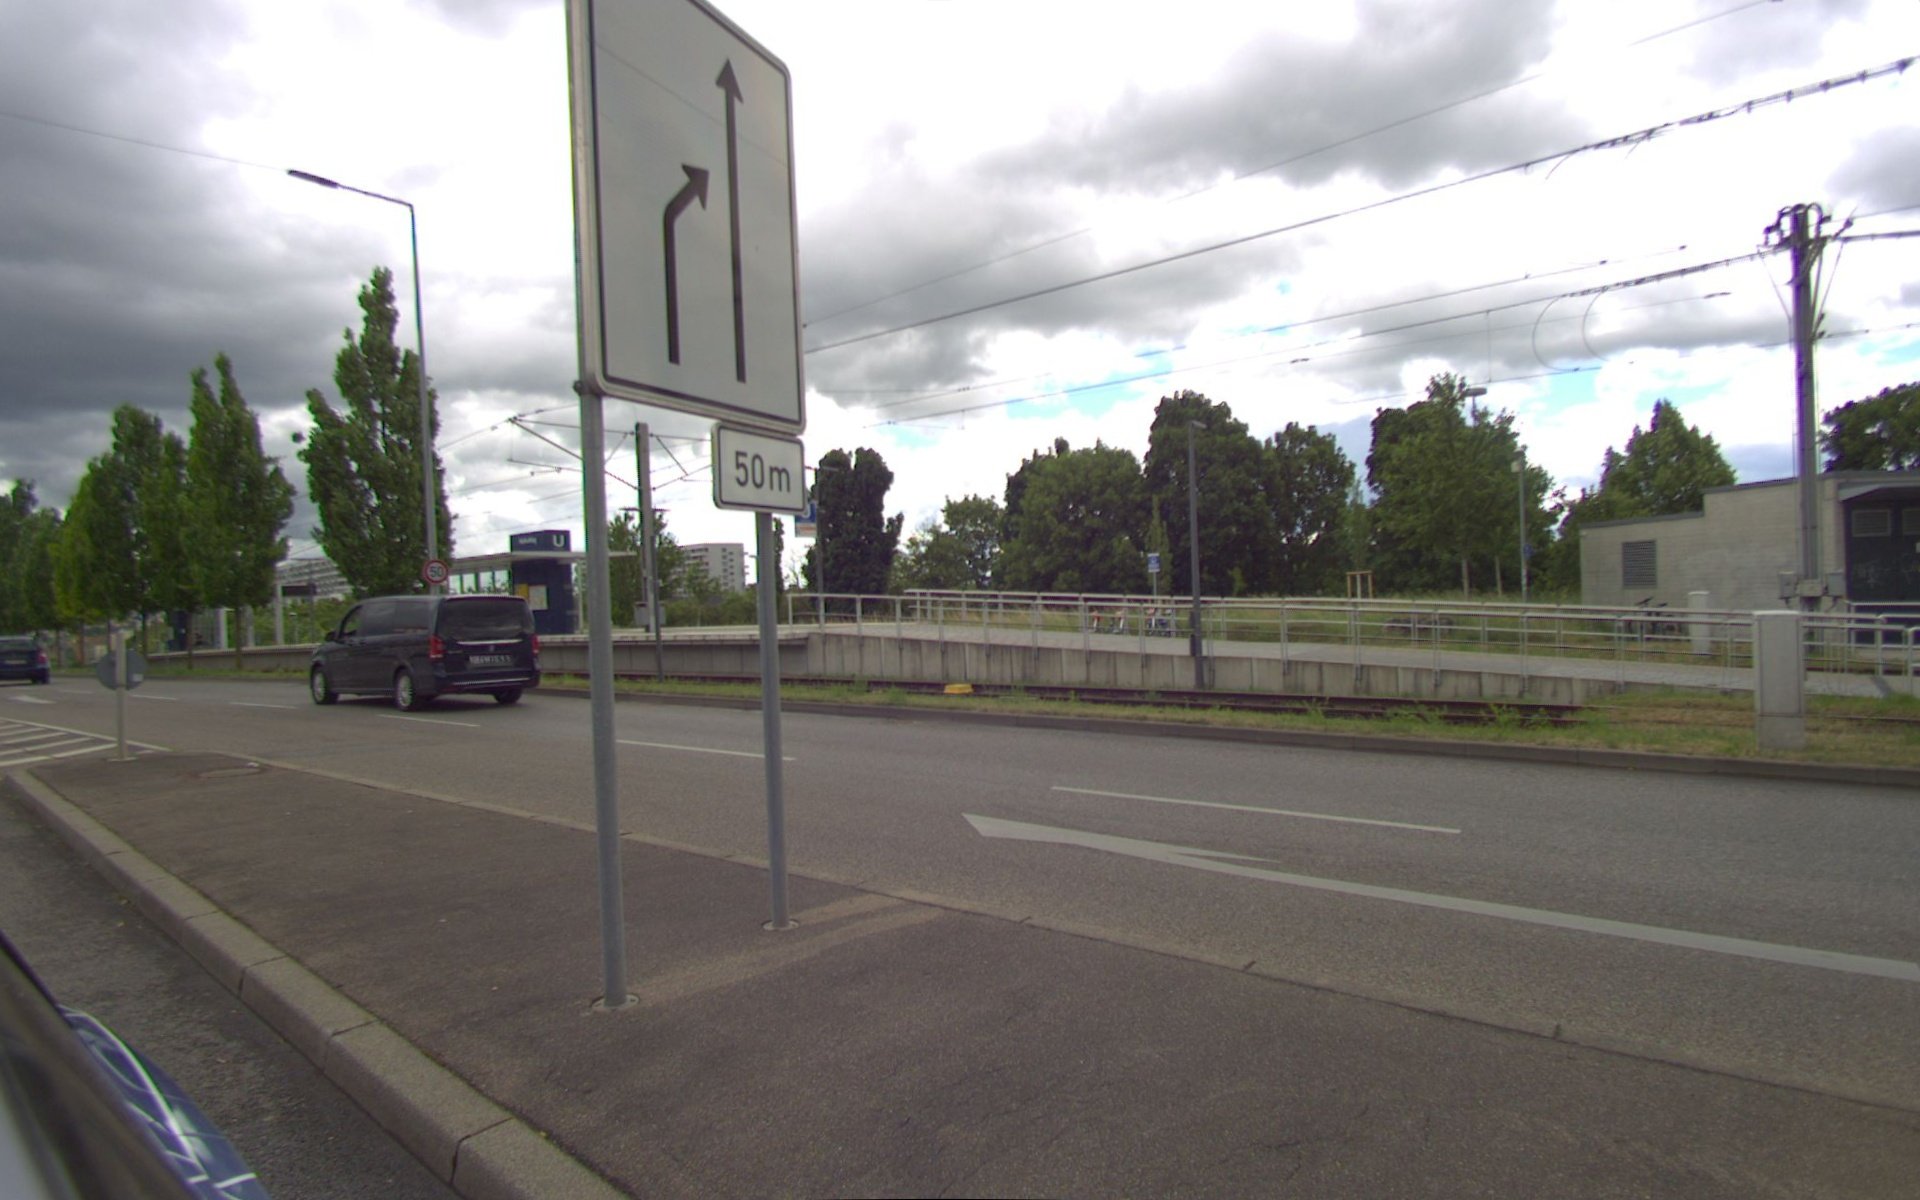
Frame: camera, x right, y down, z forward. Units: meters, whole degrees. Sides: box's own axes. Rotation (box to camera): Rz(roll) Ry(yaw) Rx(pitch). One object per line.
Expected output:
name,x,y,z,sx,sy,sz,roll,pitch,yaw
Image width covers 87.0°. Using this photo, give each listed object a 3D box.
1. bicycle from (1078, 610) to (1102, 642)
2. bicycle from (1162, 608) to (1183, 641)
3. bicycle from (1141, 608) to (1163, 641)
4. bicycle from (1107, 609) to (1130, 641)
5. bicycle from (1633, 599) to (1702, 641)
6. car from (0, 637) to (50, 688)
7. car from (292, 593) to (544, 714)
bicycle,4.487,0.881,34.904,0.531,1.039,1.804,-1,0,16
bicycle,7.082,0.802,33.710,0.531,1.039,1.804,-1,0,16
bicycle,6.450,0.818,33.995,0.531,1.039,1.804,-1,0,16
bicycle,5.394,0.849,34.448,0.531,1.039,1.804,-1,0,16
bicycle,18.225,0.505,26.106,0.529,1.039,1.813,-1,0,1
car,-30.900,1.998,32.634,3.655,1.520,1.719,-2,-1,38
car,-9.482,0.896,17.531,5.083,1.826,1.870,-2,-2,37
